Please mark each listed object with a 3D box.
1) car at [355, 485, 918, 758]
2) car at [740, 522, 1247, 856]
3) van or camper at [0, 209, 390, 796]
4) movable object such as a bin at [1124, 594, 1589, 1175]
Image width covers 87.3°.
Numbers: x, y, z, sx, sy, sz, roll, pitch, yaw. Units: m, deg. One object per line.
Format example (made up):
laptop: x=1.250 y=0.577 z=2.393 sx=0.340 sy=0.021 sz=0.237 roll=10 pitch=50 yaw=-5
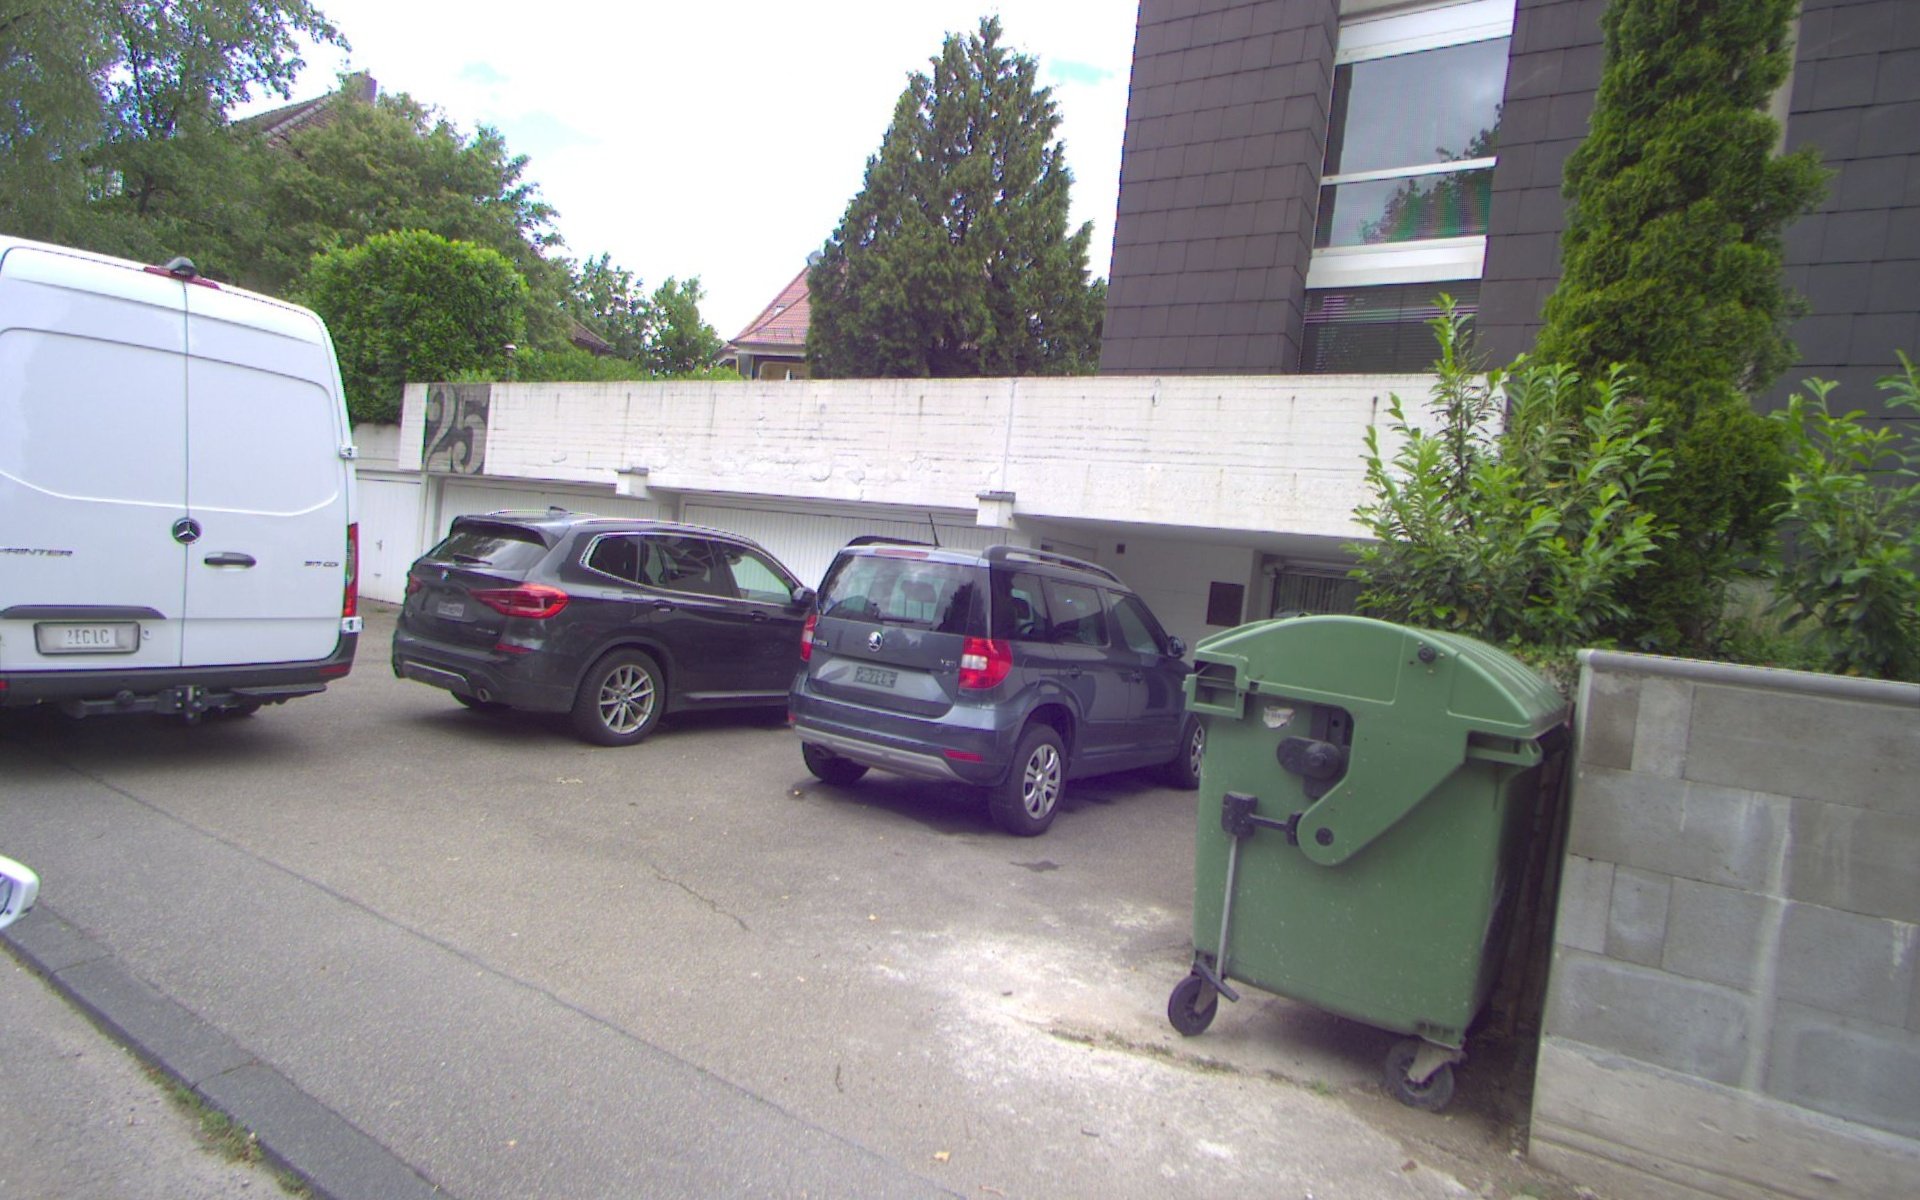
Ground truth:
car: x=-2.426 y=0.177 z=8.697 sx=1.800 sy=1.674 sz=4.395 roll=7 pitch=1 yaw=33
car: x=0.497 y=0.524 z=7.367 sx=1.801 sy=1.674 sz=3.796 roll=7 pitch=2 yaw=35
van or camper: x=-6.656 y=-0.716 z=6.827 sx=6.252 sy=2.664 sz=1.963 roll=7 pitch=4 yaw=31
movable object such as a bin: x=1.434 y=0.785 z=3.540 sx=1.161 sy=1.470 sz=1.300 roll=6 pitch=2 yaw=31
